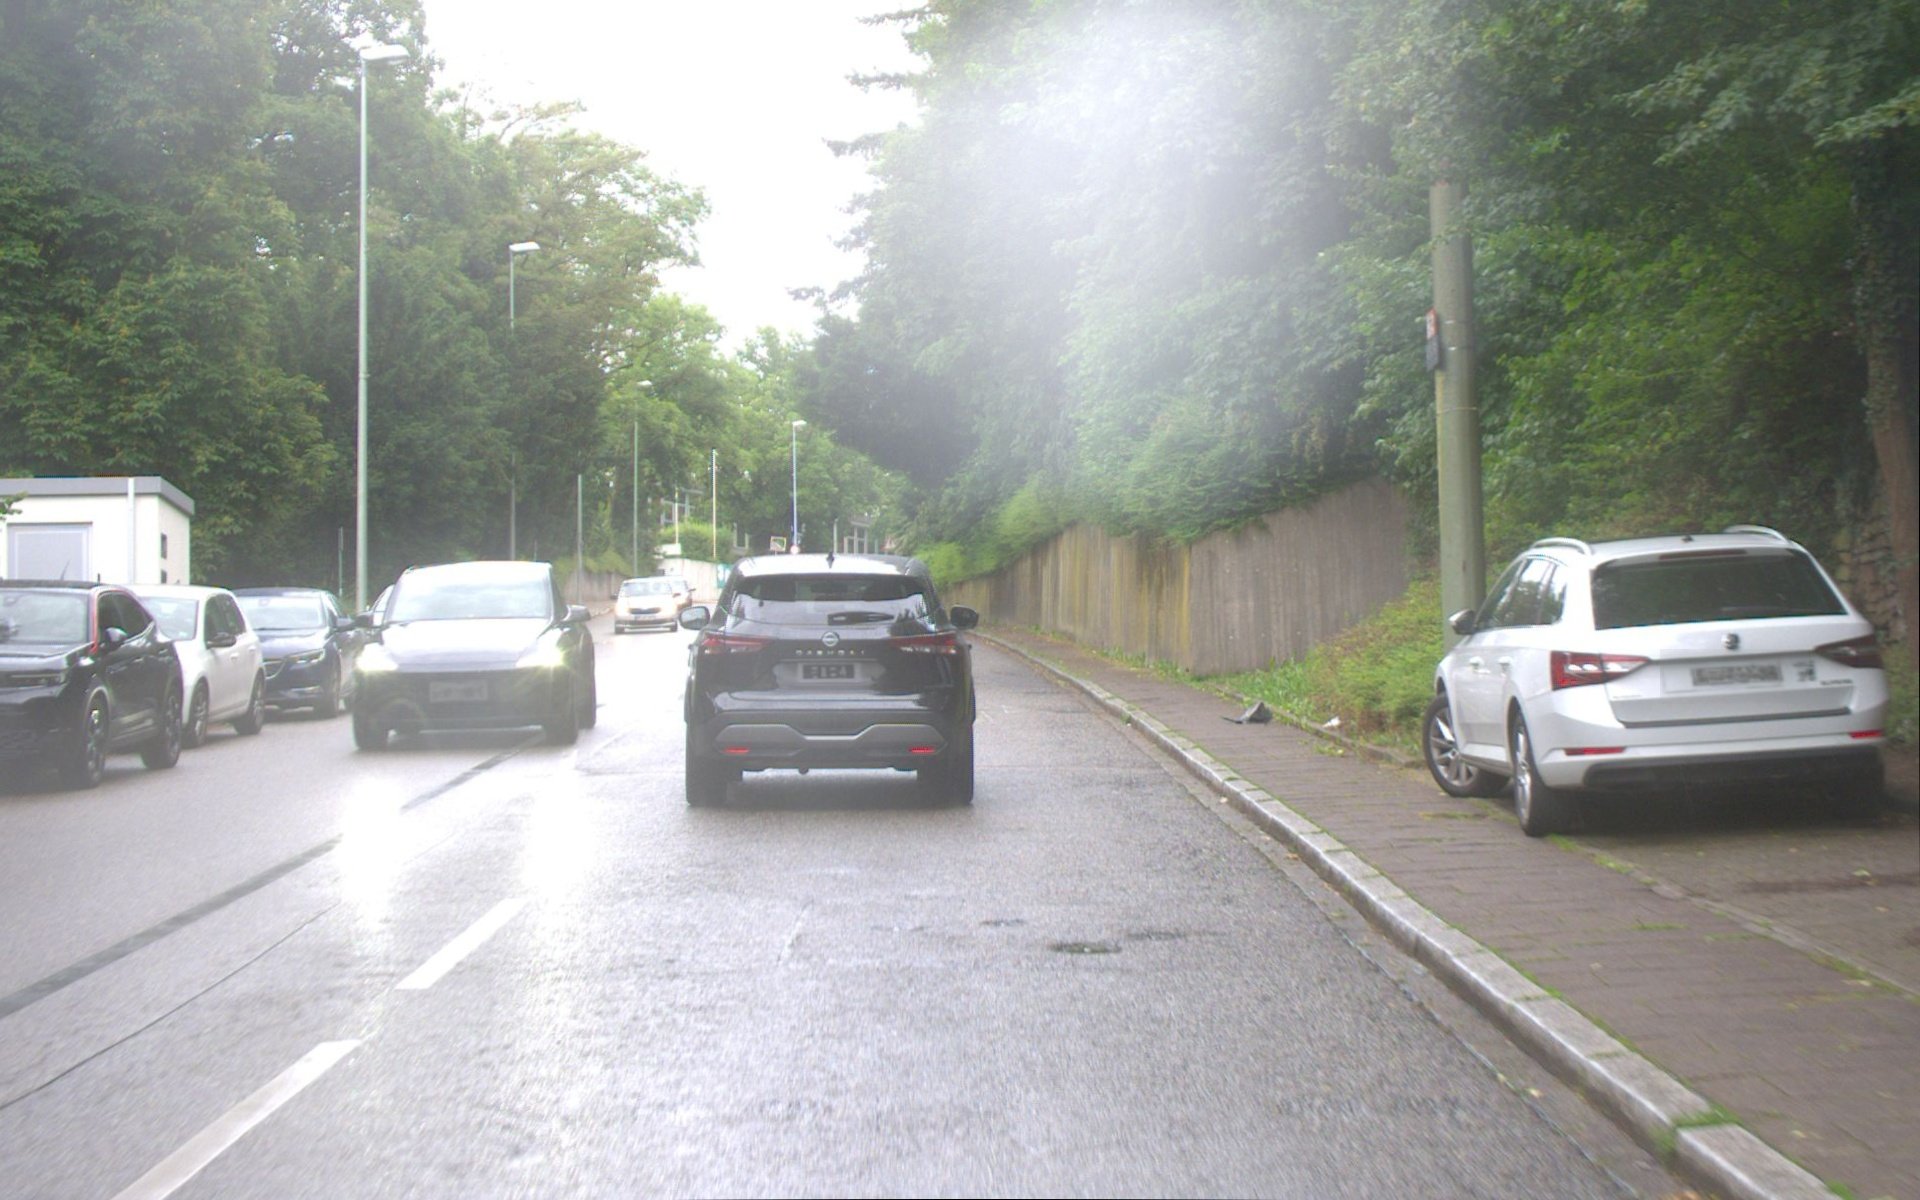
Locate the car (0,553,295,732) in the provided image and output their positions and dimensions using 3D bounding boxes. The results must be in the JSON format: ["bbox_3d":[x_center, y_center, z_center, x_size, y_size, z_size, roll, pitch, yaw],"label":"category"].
[{"bbox_3d":[-7.854,0.354,33.385,1.990,1.561,4.458,-1,1,-1],"label":"car"}]

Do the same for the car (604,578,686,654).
[{"bbox_3d":[-8.456,0.448,92.607,1.993,1.941,4.000,1,-1,-2],"label":"car"}]

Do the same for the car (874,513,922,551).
[{"bbox_3d":[-2.865,-3.173,160.462,1.993,1.554,3.999,-2,-1,2],"label":"car"}]

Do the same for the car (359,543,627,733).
[{"bbox_3d":[-4.126,0.286,30.955,1.993,1.554,4.001,0,1,-2],"label":"car"}]

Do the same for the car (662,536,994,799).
[{"bbox_3d":[-0.811,0.373,22.790,1.993,1.554,4.000,0,1,0],"label":"car"}]

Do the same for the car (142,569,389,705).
[{"bbox_3d":[-7.835,0.378,39.200,1.990,1.379,4.458,-1,1,-1],"label":"car"}]

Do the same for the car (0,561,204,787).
[{"bbox_3d":[-7.305,0.518,26.638,1.990,1.561,4.458,-1,1,-1],"label":"car"}]

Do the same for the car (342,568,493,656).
[{"bbox_3d":[-9.354,0.183,59.585,1.990,1.379,4.458,-1,1,-1],"label":"car"}]

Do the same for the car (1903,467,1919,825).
[{"bbox_3d":[3.731,0.364,7.640,1.810,1.525,4.417,-3,1,-3],"label":"car"}]

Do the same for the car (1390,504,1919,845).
[{"bbox_3d":[3.622,0.326,18.472,1.810,1.525,4.417,-3,1,-3],"label":"car"}]

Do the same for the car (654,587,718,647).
[{"bbox_3d":[-9.358,0.597,117.587,1.993,1.941,4.000,1,-1,-2],"label":"car"}]
